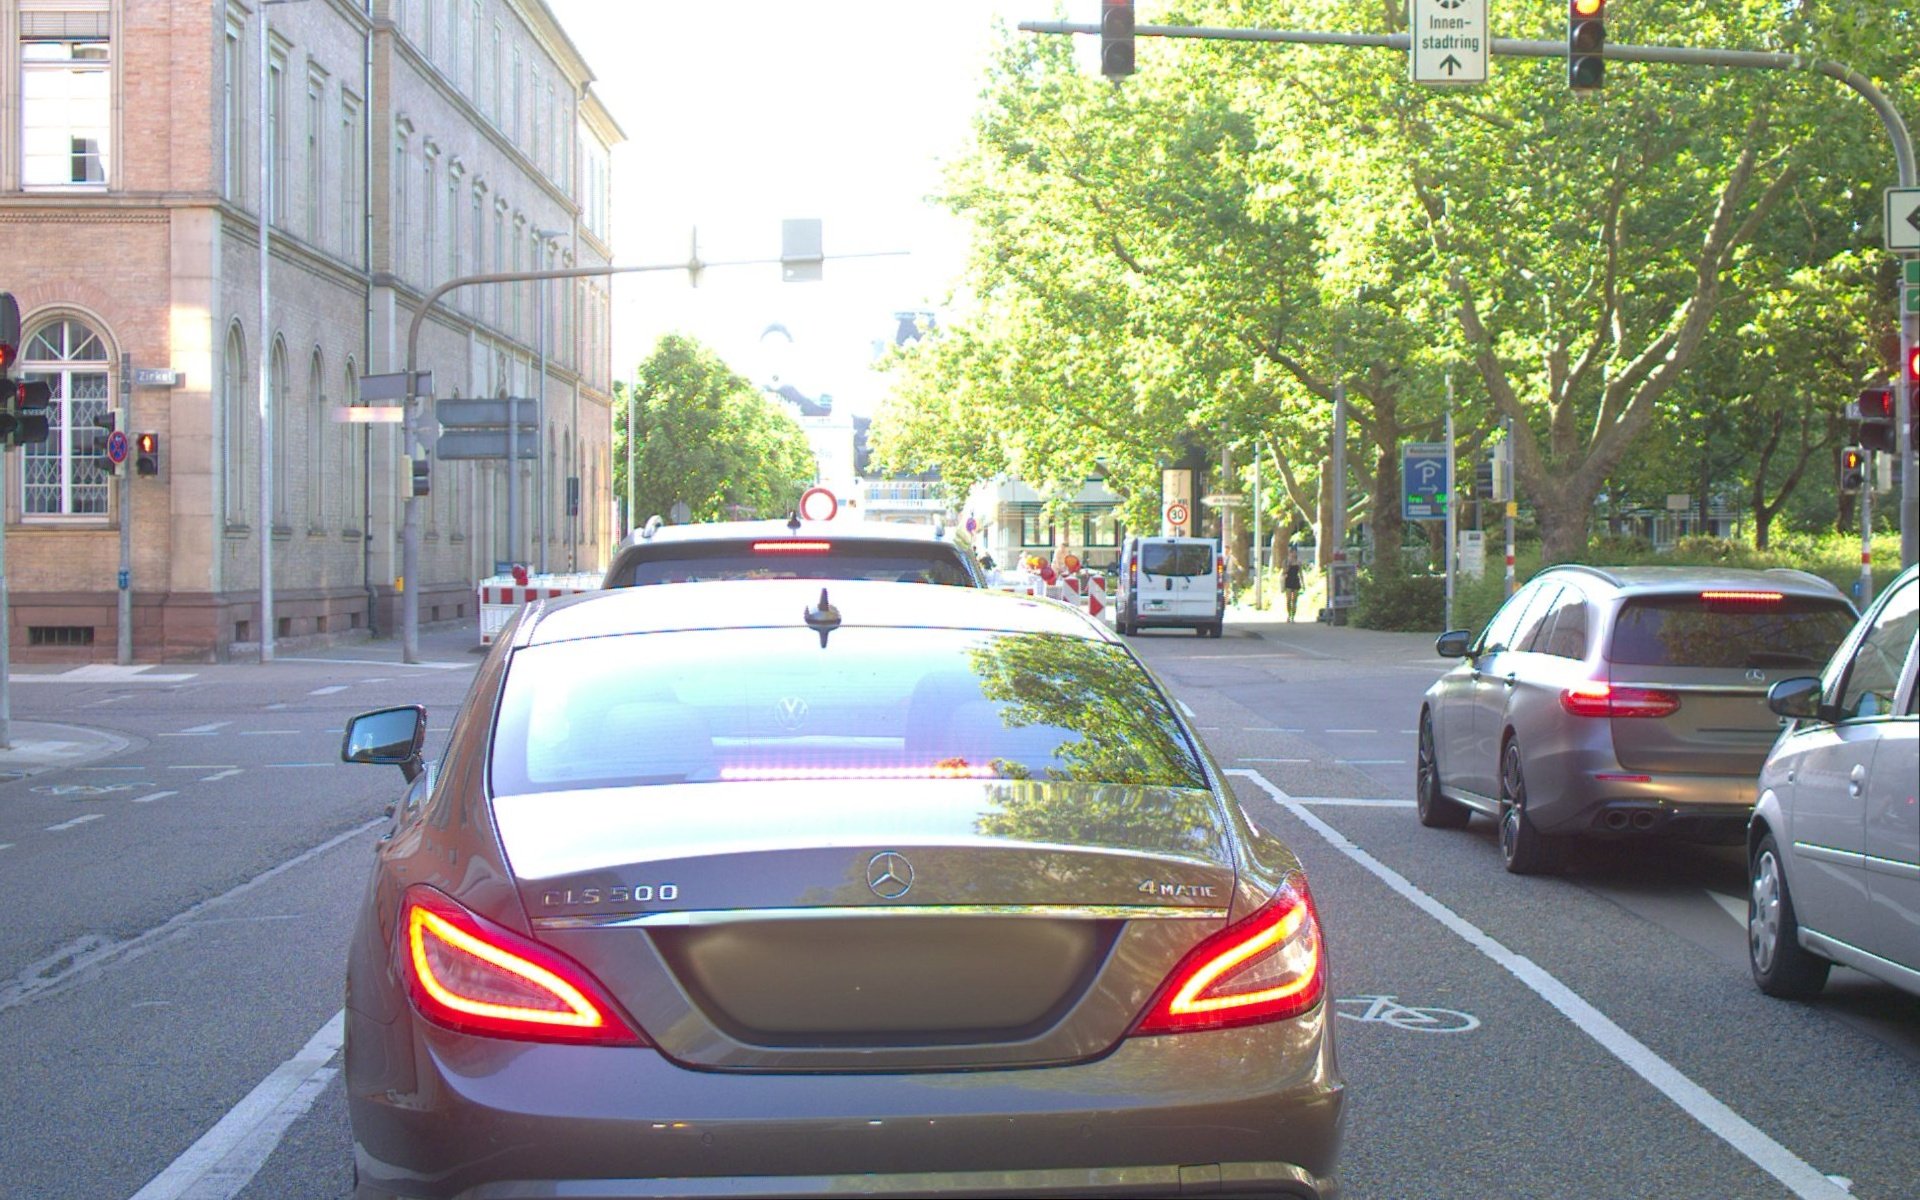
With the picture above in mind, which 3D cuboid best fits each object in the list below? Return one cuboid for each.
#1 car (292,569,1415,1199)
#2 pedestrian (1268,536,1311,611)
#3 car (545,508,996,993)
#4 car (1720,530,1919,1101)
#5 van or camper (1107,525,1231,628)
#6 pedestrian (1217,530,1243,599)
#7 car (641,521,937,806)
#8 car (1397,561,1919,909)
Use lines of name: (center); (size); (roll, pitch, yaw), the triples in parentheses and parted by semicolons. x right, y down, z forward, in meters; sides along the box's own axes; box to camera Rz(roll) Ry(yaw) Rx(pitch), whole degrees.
car: (-0.443, 0.683, 7.677); (1.803, 1.451, 4.352); (0, 1, -8)
pedestrian: (7.080, -0.571, 73.914); (0.830, 1.601, 0.651); (1, 1, -1)
car: (-0.733, 0.482, 13.653); (1.517, 1.641, 3.881); (1, 1, -3)
car: (3.563, 0.595, 10.487); (1.701, 1.597, 3.859); (0, 1, 1)
van or camper: (4.075, -0.484, 67.648); (1.993, 1.935, 4.595); (0, 1, -2)
pedestrian: (7.162, -0.945, 91.283); (0.603, 1.815, 0.651); (1, 1, -1)
car: (-1.081, 0.362, 23.253); (1.820, 1.756, 4.000); (0, 1, -1)
car: (3.517, 0.572, 17.463); (1.913, 1.459, 4.669); (2, 1, -1)
